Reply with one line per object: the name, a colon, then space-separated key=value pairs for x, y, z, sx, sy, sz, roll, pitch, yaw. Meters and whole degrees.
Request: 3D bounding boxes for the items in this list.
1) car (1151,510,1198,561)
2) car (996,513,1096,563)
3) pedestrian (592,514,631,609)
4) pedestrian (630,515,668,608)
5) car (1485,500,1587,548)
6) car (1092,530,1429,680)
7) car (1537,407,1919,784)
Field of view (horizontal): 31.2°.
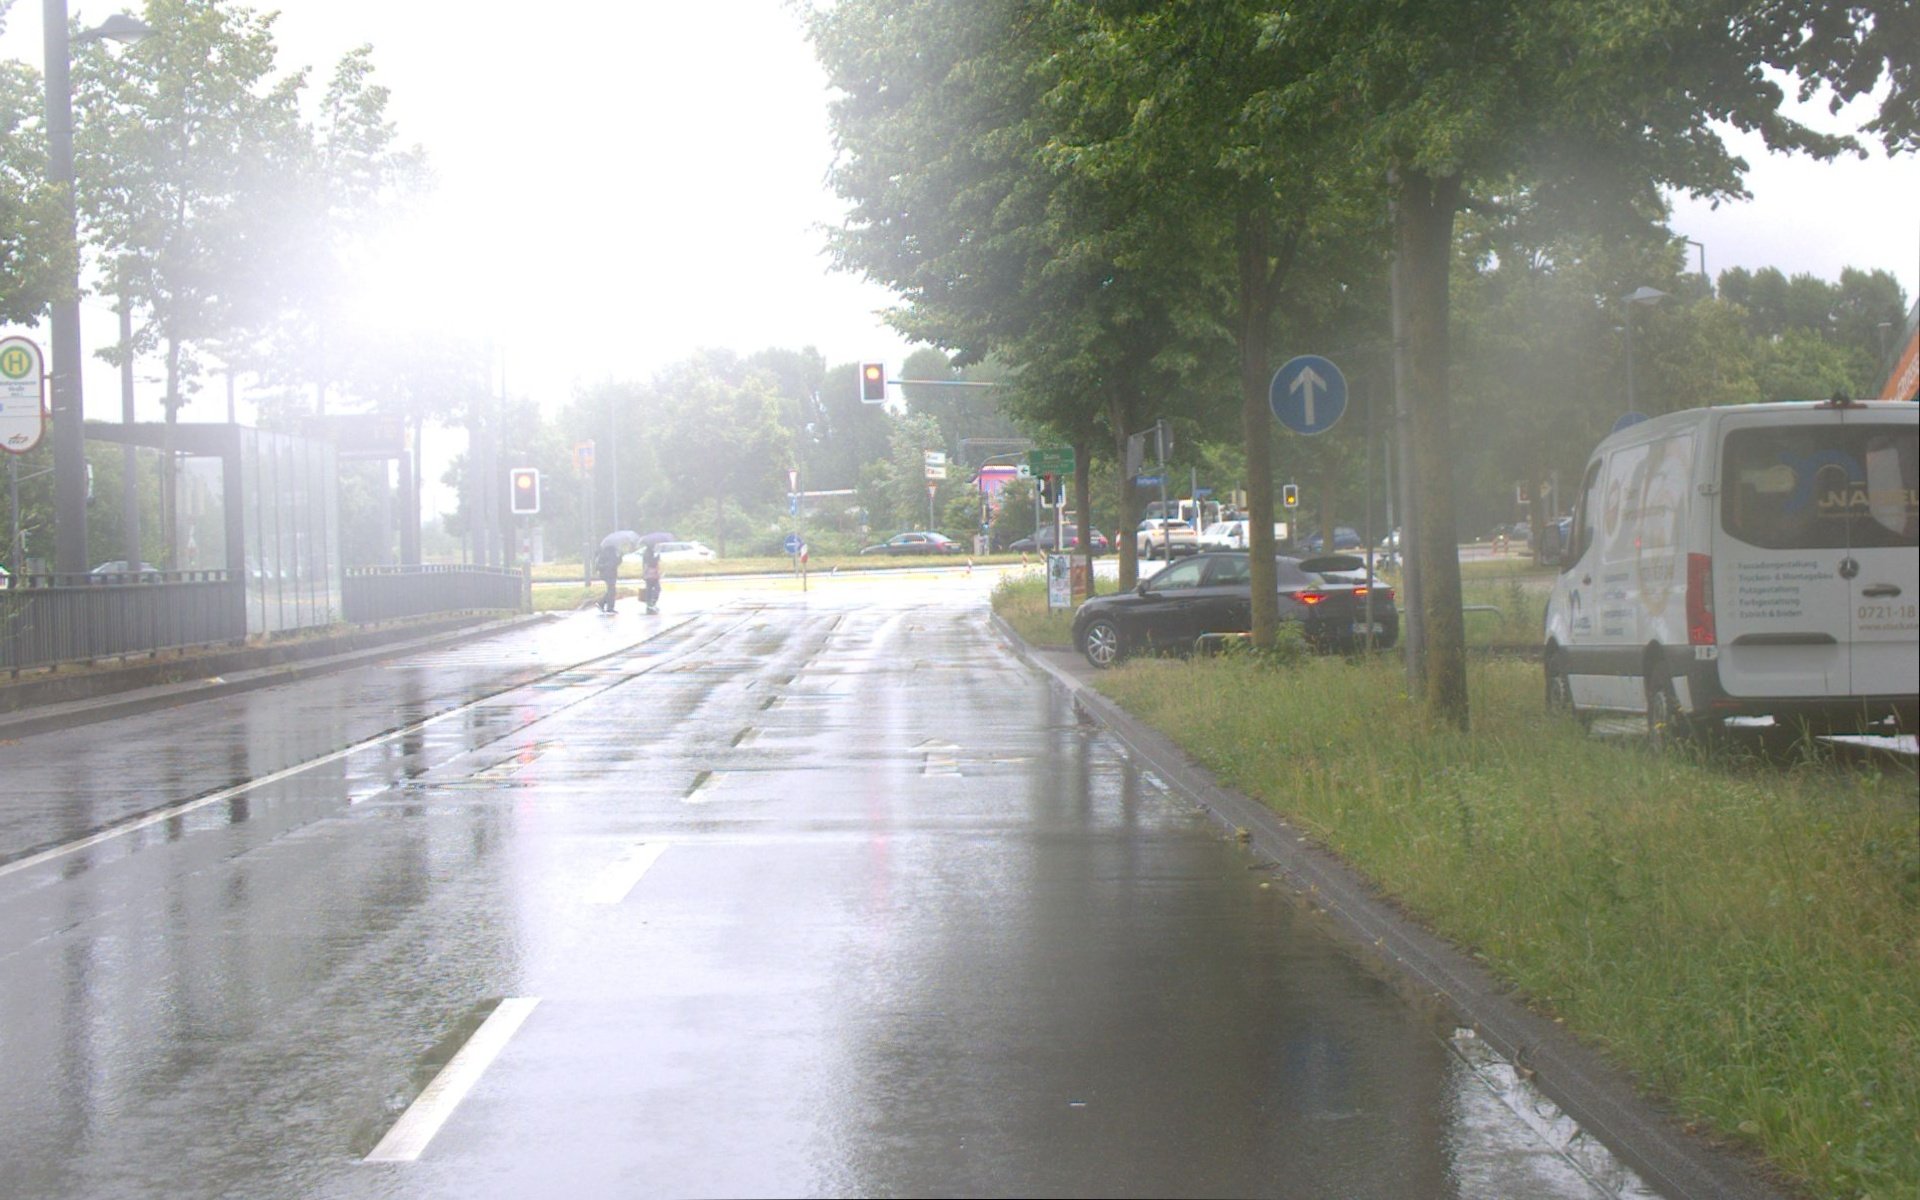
car: x=7.941 y=-2.396 z=127.411 sx=1.623 sy=1.694 sz=3.456 roll=-2 pitch=3 yaw=3
car: x=3.364 y=-2.418 z=134.236 sx=3.450 sy=1.831 sz=1.714 roll=-1 pitch=4 yaw=30
pedestrian: x=-7.563 y=-0.849 z=74.715 sx=0.697 sy=2.006 sz=0.656 roll=-3 pitch=3 yaw=-1
pedestrian: x=-6.849 y=-0.852 z=75.777 sx=0.697 sy=2.006 sz=0.656 roll=-3 pitch=3 yaw=-1
car: x=22.068 y=-2.908 z=131.697 sx=3.450 sy=1.694 sz=1.626 roll=-1 pitch=4 yaw=30
car: x=3.478 y=0.015 z=40.435 sx=1.815 sy=1.539 sz=4.000 roll=-5 pitch=4 yaw=-33
car: x=5.468 y=-0.088 z=23.519 sx=2.121 sy=2.266 sz=4.565 roll=-3 pitch=1 yaw=-1
